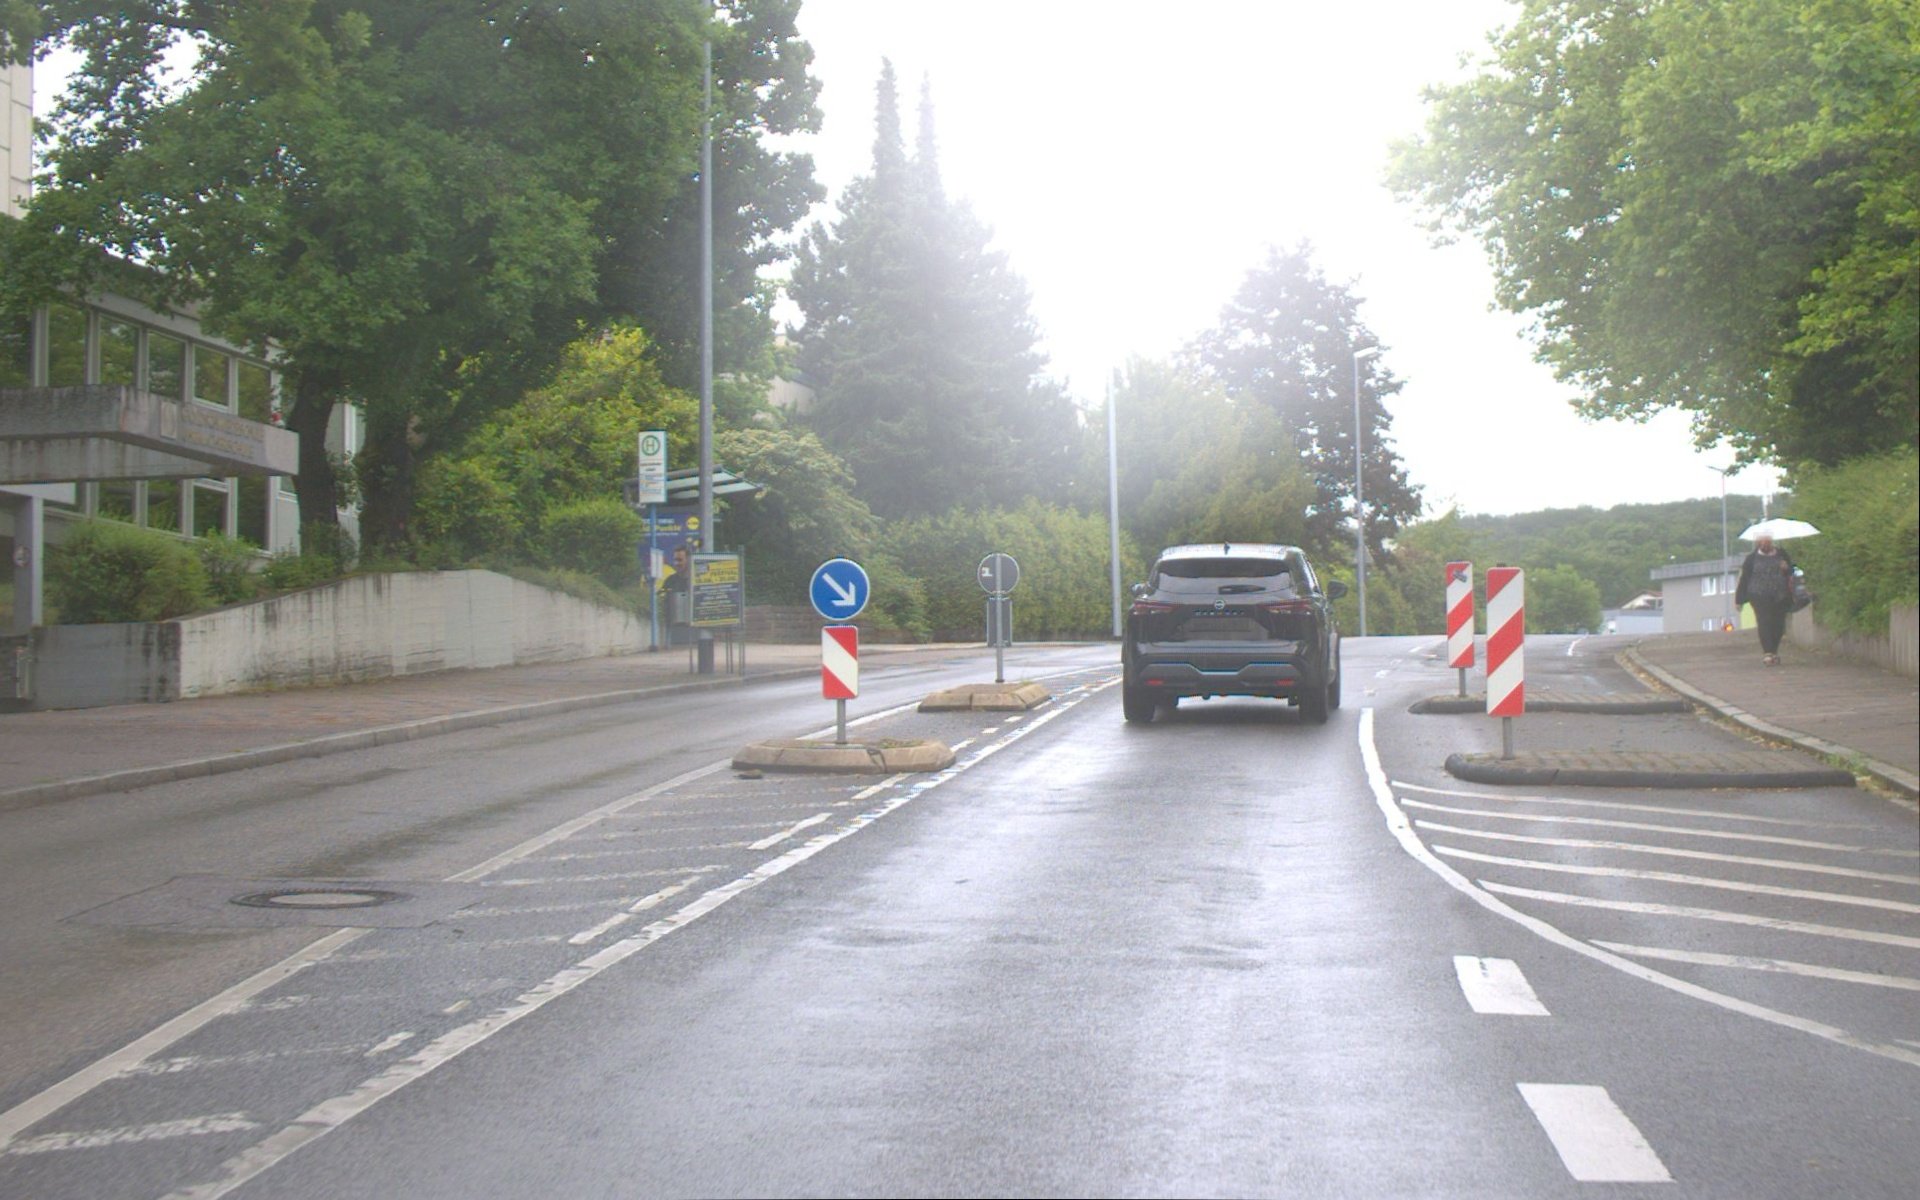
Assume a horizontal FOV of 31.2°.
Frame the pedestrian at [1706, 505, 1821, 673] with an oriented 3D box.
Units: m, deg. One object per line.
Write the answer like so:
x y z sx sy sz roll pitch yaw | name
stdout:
9.264 -0.114 39.695 1.051 1.887 1.133 -1 -2 1 | pedestrian

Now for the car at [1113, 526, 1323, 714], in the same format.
2.444 0.129 32.055 1.790 1.598 4.253 -1 1 5 | car
